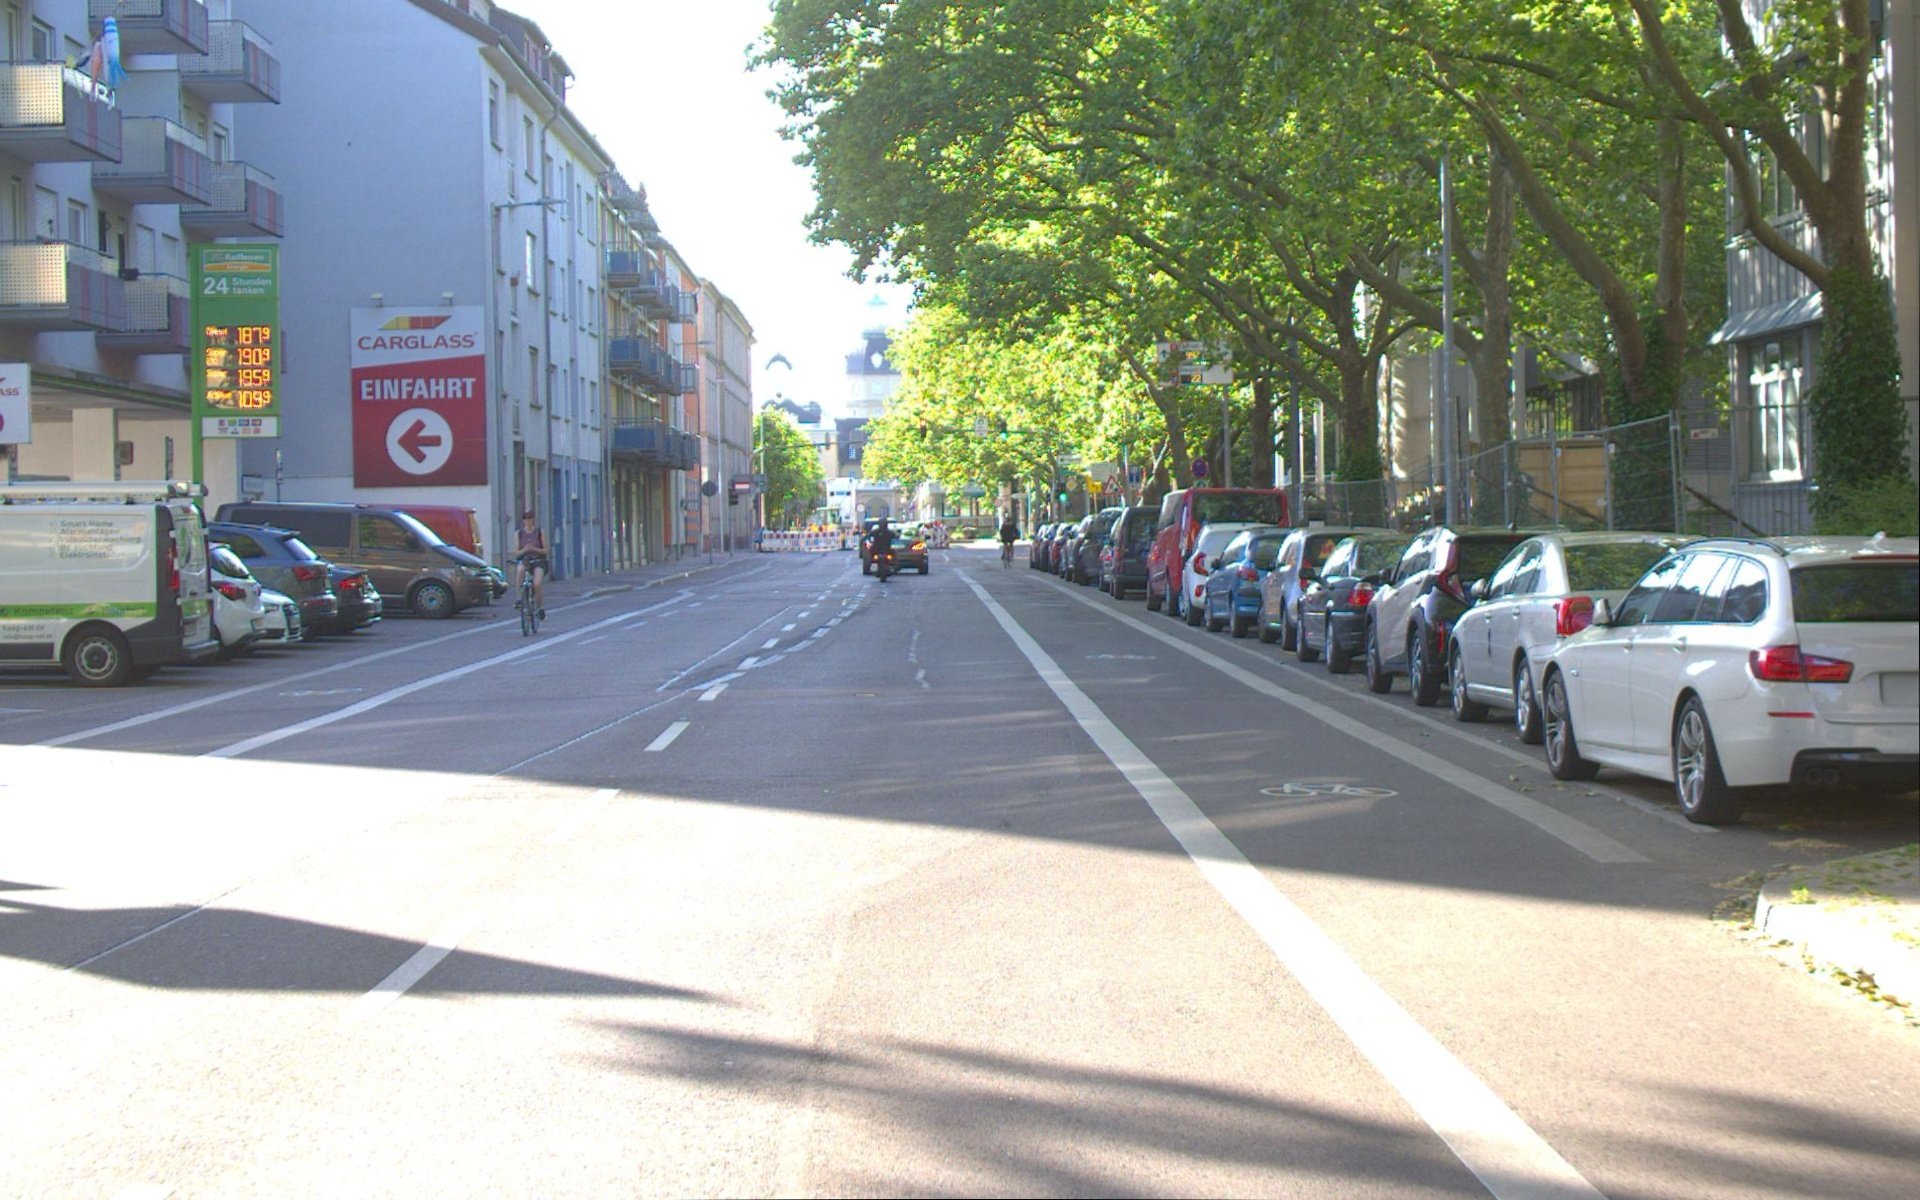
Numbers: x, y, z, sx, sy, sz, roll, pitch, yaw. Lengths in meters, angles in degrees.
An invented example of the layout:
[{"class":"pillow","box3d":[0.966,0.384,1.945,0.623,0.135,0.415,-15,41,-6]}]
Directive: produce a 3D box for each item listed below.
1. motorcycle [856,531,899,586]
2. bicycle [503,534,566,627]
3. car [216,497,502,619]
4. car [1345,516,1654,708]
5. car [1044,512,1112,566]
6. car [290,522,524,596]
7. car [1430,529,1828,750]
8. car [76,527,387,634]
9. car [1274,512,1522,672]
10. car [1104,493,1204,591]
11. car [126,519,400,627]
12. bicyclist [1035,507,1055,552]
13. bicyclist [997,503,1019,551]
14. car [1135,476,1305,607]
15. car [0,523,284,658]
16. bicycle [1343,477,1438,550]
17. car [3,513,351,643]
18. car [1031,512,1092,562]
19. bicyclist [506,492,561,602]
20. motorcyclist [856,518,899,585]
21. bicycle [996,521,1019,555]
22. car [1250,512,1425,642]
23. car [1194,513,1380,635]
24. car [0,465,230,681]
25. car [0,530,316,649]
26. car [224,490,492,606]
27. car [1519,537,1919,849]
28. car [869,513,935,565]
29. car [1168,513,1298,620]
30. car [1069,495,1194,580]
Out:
[{"class":"motorcycle","box3d":[-2.039,-1.026,84.431,1.012,1.302,2.673,-1,1,-2]},{"class":"bicycle","box3d":[-6.085,-0.290,49.251,0.607,1.235,2.050,-3,2,-1]},{"class":"car","box3d":[-10.247,-0.737,58.841,4.522,1.945,2.057,1,1,-1]},{"class":"car","box3d":[4.563,0.046,29.688,1.855,1.517,4.298,0,1,-2]},{"class":"car","box3d":[3.352,-1.752,97.966,1.693,1.474,4.319,1,1,-1]},{"class":"car","box3d":[-10.755,-0.807,67.078,4.228,1.375,2.046,1,1,-1]},{"class":"car","box3d":[4.711,0.211,24.898,1.855,1.431,4.603,0,1,-2]},{"class":"car","box3d":[-10.226,-0.289,48.477,3.987,1.450,1.916,0,1,-1]},{"class":"car","box3d":[4.509,-0.135,36.044,1.855,1.517,4.600,1,2,-2]},{"class":"car","box3d":[3.721,-1.143,66.615,1.693,1.806,4.130,1,1,0]},{"class":"car","box3d":[-10.270,-0.418,50.822,3.685,1.508,1.831,1,1,-1]},{"class":"bicyclist","box3d":[2.939,-2.440,118.811,0.656,1.525,0.906,0,1,-2]},{"class":"bicyclist","box3d":[1.536,-2.340,110.398,0.656,1.525,0.852,0,1,-2]},{"class":"car","box3d":[4.130,-0.969,55.501,2.078,1.987,5.172,1,1,-3]},{"class":"car","box3d":[-10.241,-0.132,41.053,3.987,1.554,1.853,0,2,-1]},{"class":"bicycle","box3d":[12.359,-2.482,98.733,2.597,2.007,0.742,-1,1,-1]},{"class":"car","box3d":[-10.371,-0.308,45.782,4.194,1.678,2.028,0,1,-1]},{"class":"car","box3d":[3.051,-1.909,103.555,1.693,1.461,4.066,1,1,0]},{"class":"bicyclist","box3d":[-6.126,-0.766,49.387,0.607,1.539,0.934,-3,2,-1]},{"class":"motorcyclist","box3d":[-2.034,-1.194,84.416,1.012,1.596,1.406,-1,1,-2]},{"class":"bicycle","box3d":[1.534,-1.983,110.385,0.656,1.066,1.927,0,1,-2]},{"class":"car","box3d":[4.534,-0.312,41.700,1.613,1.470,3.493,1,2,-2]},{"class":"car","box3d":[4.336,-0.382,46.131,1.855,1.505,3.930,1,2,-4]},{"class":"car","box3d":[-10.400,-0.323,36.527,4.844,2.209,2.140,1,1,-1]},{"class":"car","box3d":[-10.250,-0.147,43.180,3.987,1.428,1.853,0,2,-1]},{"class":"car","box3d":[-10.764,-0.948,61.697,4.421,1.945,2.146,1,1,-1]},{"class":"car","box3d":[4.553,0.395,18.789,1.855,1.431,4.971,0,1,-4]},{"class":"car","box3d":[-1.664,-1.750,98.041,1.828,1.415,3.815,-1,1,-2]},{"class":"car","box3d":[4.000,-0.527,50.885,1.637,1.480,3.760,1,2,1]},{"class":"car","box3d":[3.858,-1.440,78.225,1.824,1.835,4.901,1,1,-9]}]
